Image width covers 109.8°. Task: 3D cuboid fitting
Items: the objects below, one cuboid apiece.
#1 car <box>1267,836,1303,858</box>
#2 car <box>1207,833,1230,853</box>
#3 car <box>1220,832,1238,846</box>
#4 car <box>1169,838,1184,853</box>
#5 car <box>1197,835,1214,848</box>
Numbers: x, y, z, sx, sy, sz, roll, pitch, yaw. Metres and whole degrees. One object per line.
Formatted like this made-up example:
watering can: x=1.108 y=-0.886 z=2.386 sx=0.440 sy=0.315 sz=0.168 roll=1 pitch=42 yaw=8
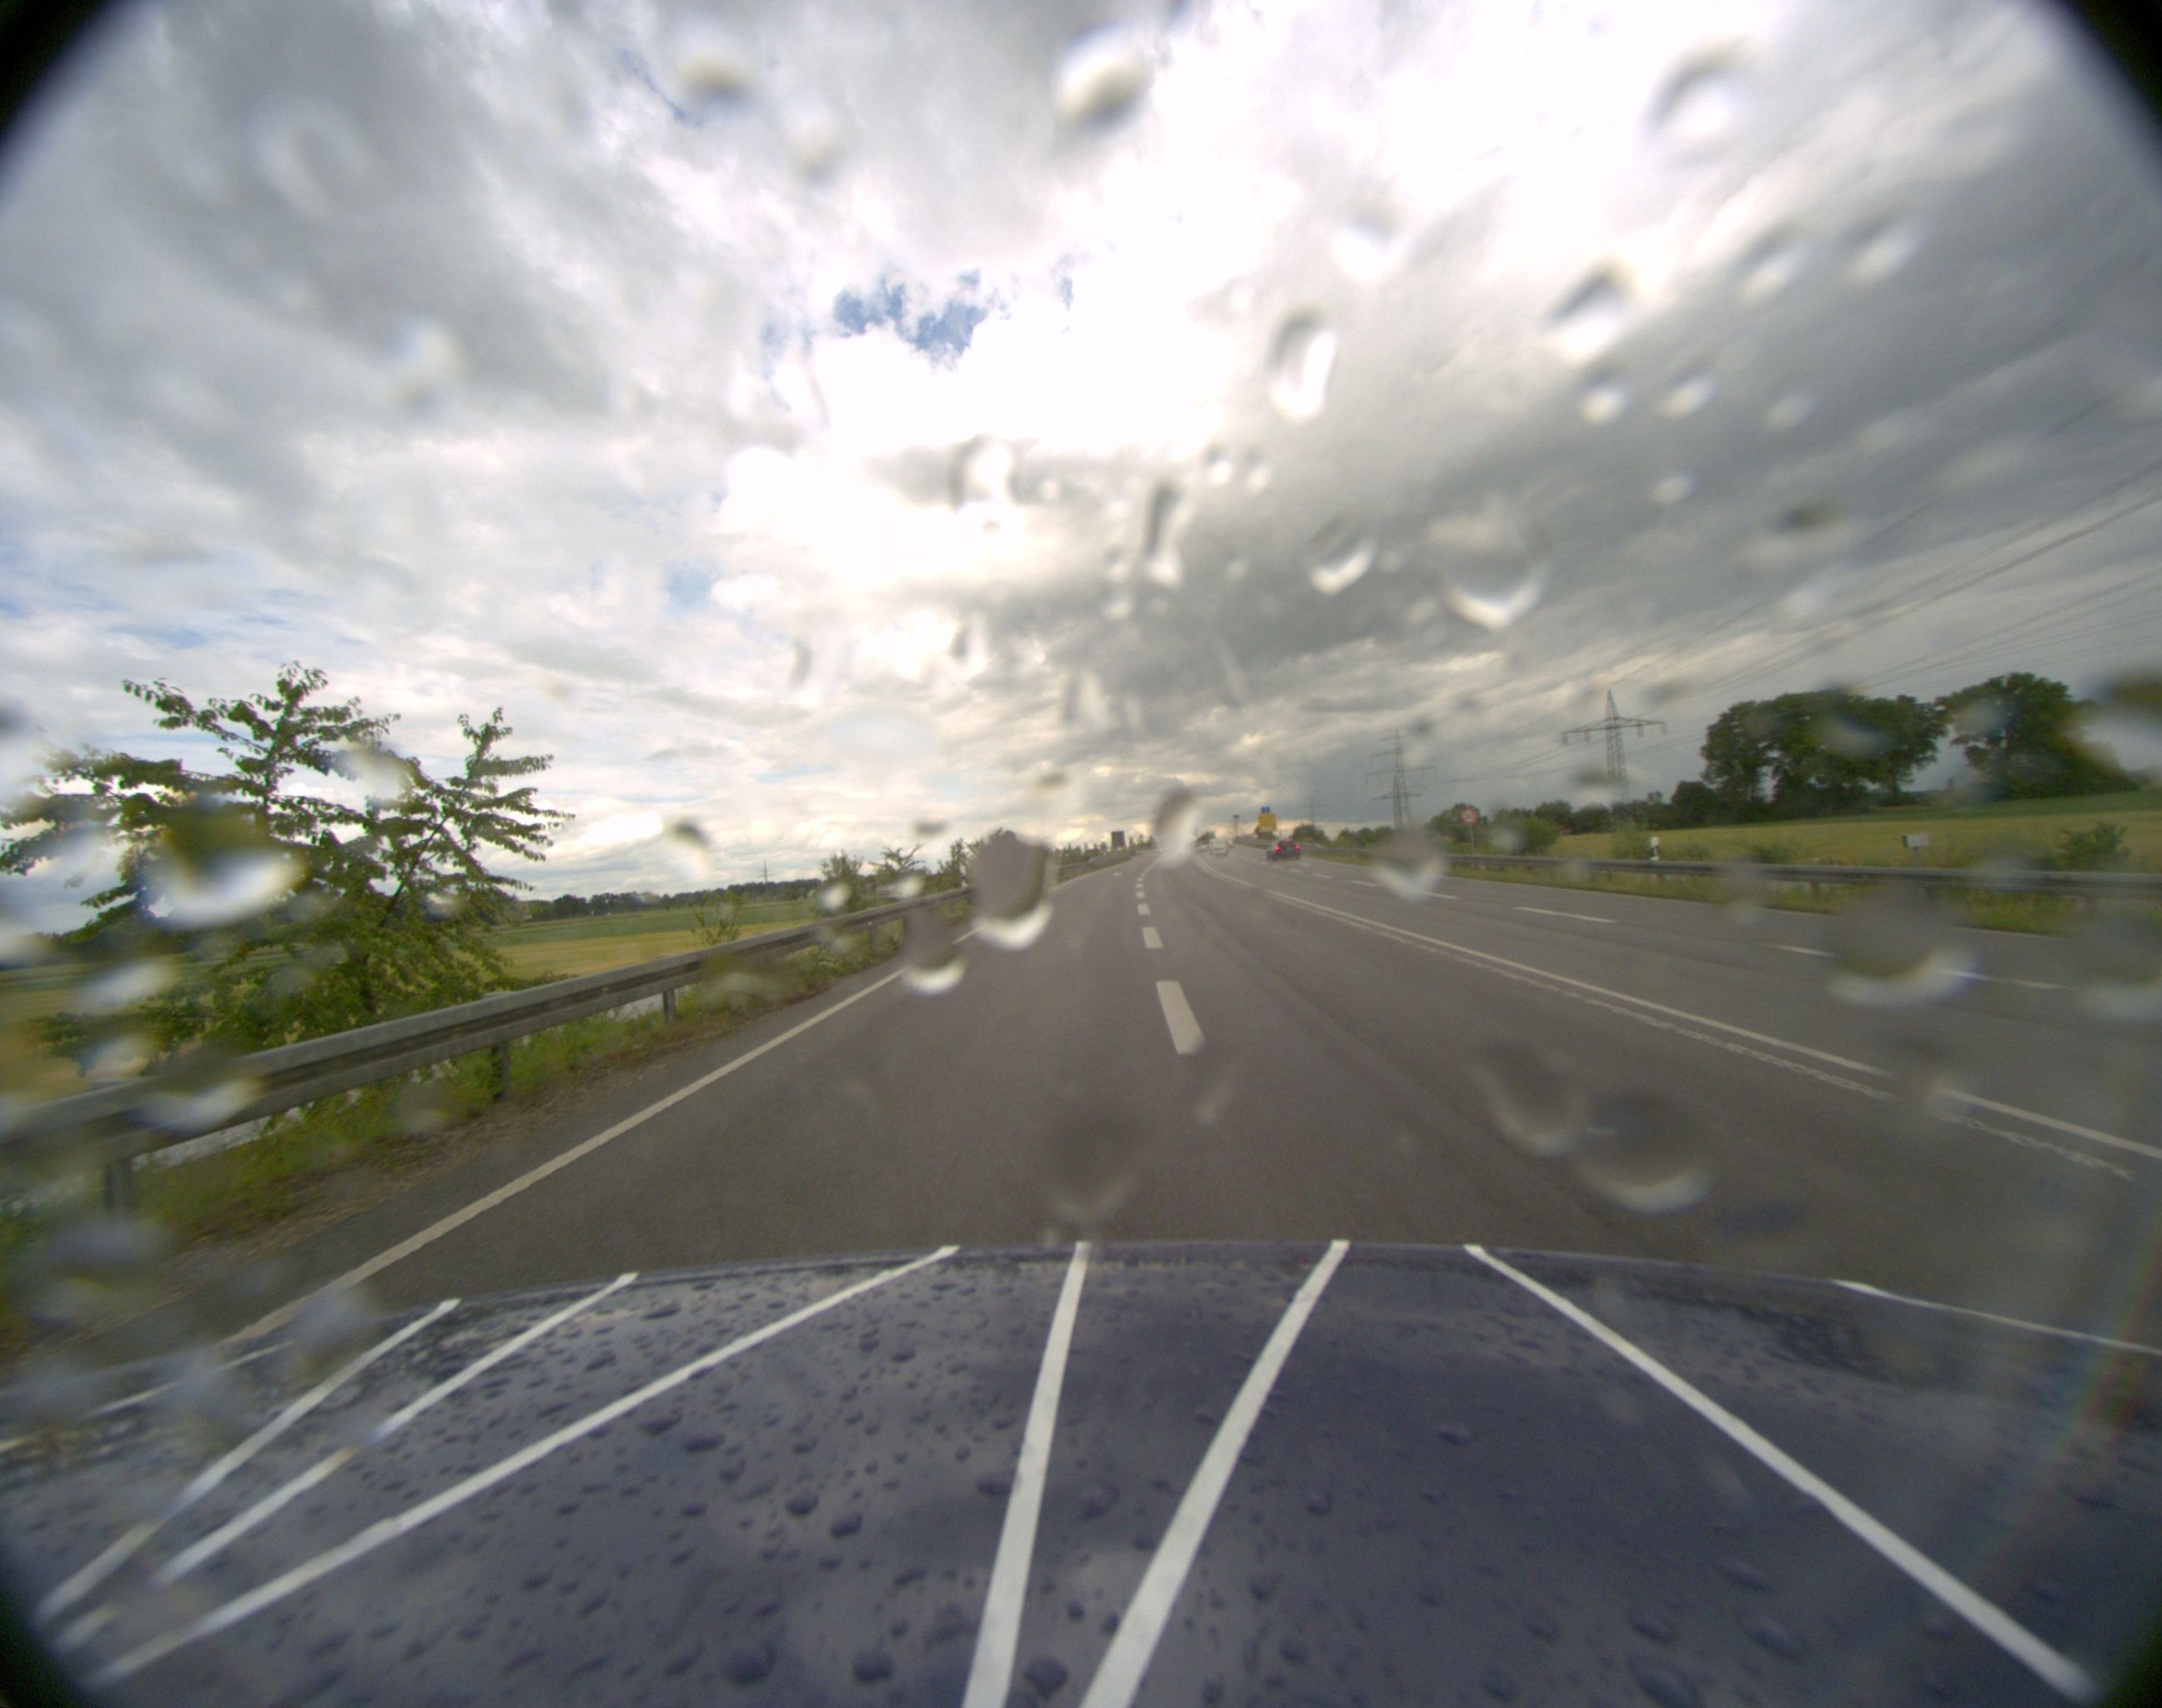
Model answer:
car: x=14.492 y=-0.541 z=54.115 sx=1.899 sy=1.433 sz=4.902 roll=-2 pitch=1 yaw=9
car: x=13.074 y=-1.062 z=72.491 sx=1.794 sy=1.656 sz=4.371 roll=-6 pitch=1 yaw=7
car: x=20.918 y=-2.157 z=107.642 sx=1.947 sy=1.651 sz=4.646 roll=-6 pitch=1 yaw=5
car: x=12.441 y=-1.066 z=99.326 sx=1.795 sy=1.758 sz=4.003 roll=-4 pitch=-1 yaw=7
car: x=15.516 y=-1.575 z=94.943 sx=1.770 sy=1.491 sz=4.211 roll=-4 pitch=1 yaw=6
